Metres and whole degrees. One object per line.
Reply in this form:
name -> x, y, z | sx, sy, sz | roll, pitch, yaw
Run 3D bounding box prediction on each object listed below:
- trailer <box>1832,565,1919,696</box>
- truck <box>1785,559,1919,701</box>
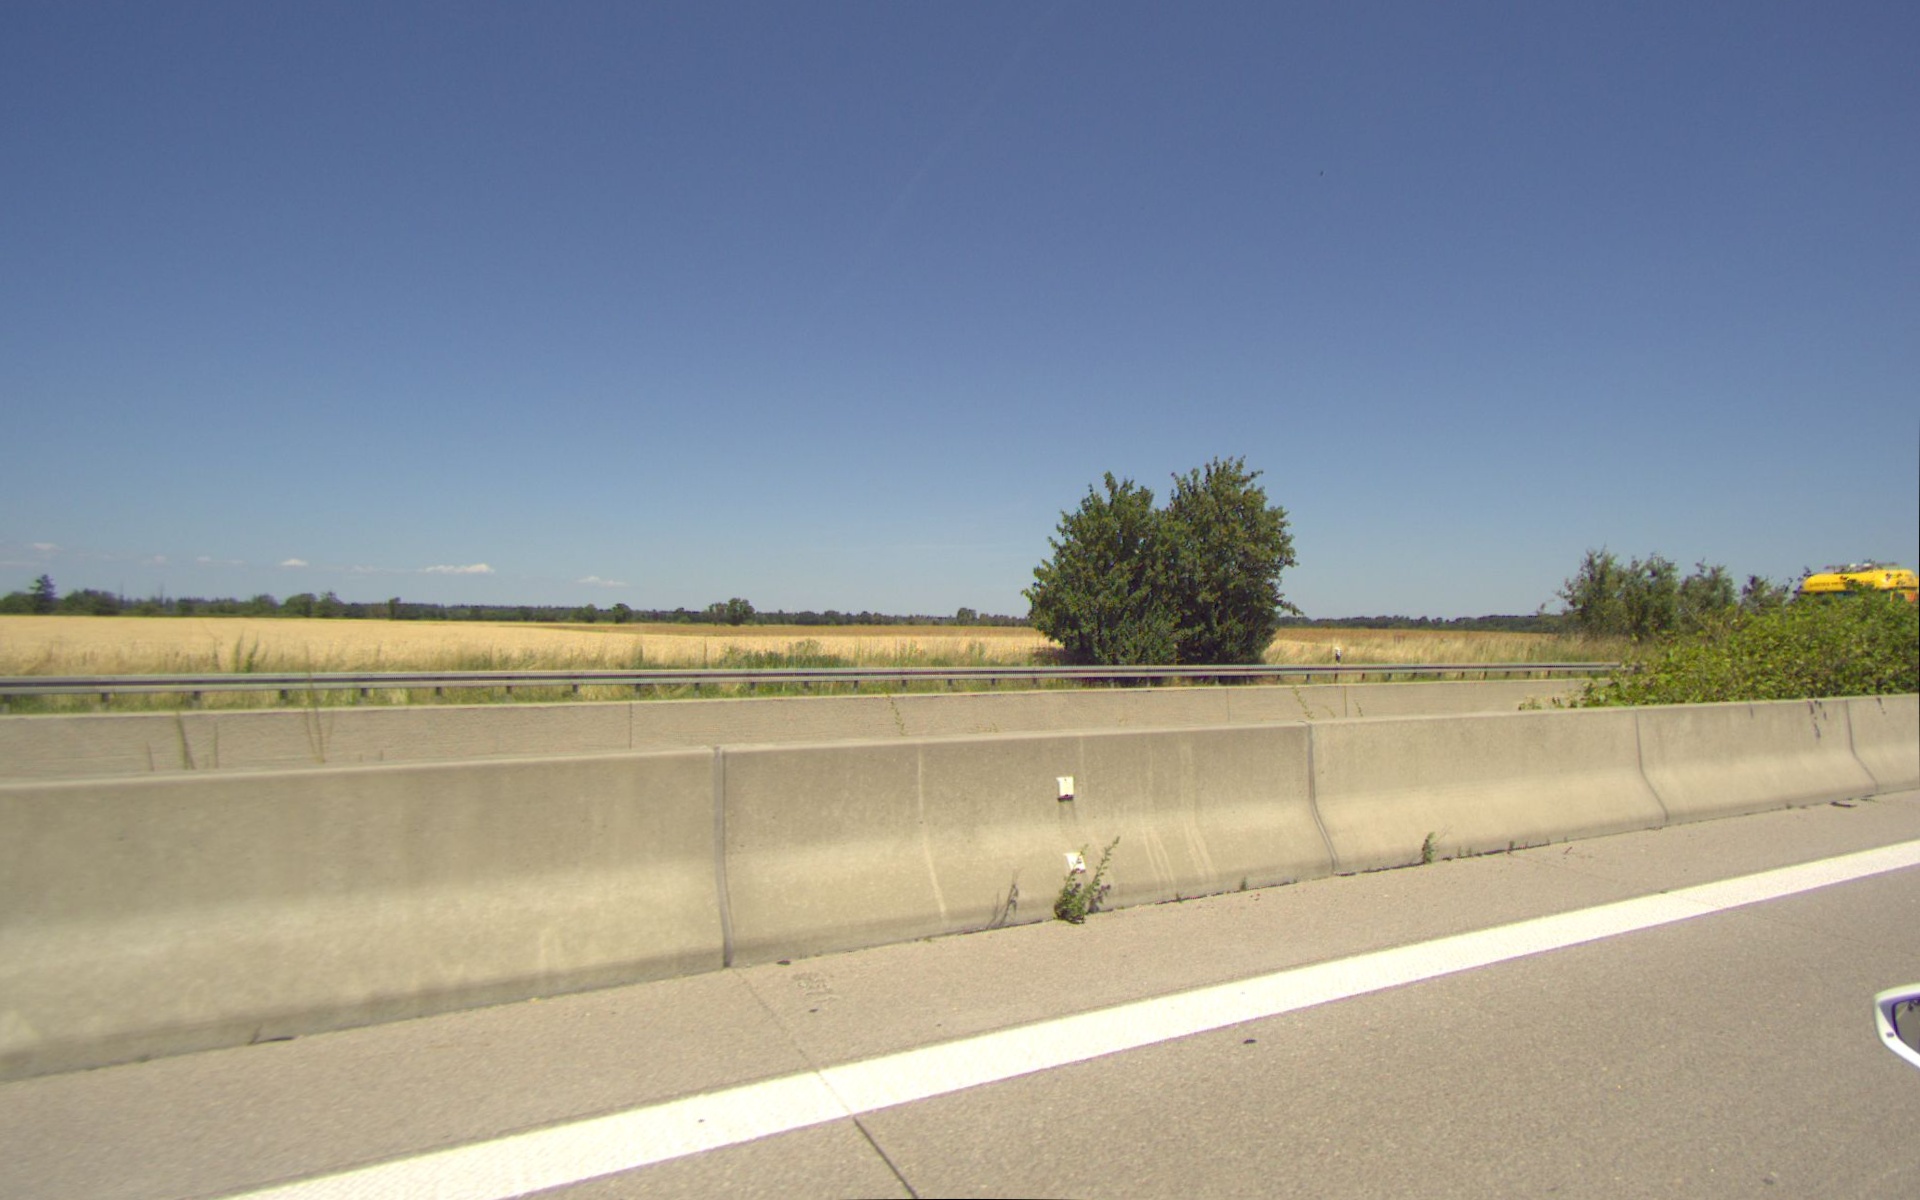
trailer -> 35.902, 1.103, 35.420 | 14.429, 4.093, 2.765 | 2, 1, -28
truck -> 29.144, 0.921, 31.781 | 5.470, 4.134, 2.733 | 1, 1, -28
